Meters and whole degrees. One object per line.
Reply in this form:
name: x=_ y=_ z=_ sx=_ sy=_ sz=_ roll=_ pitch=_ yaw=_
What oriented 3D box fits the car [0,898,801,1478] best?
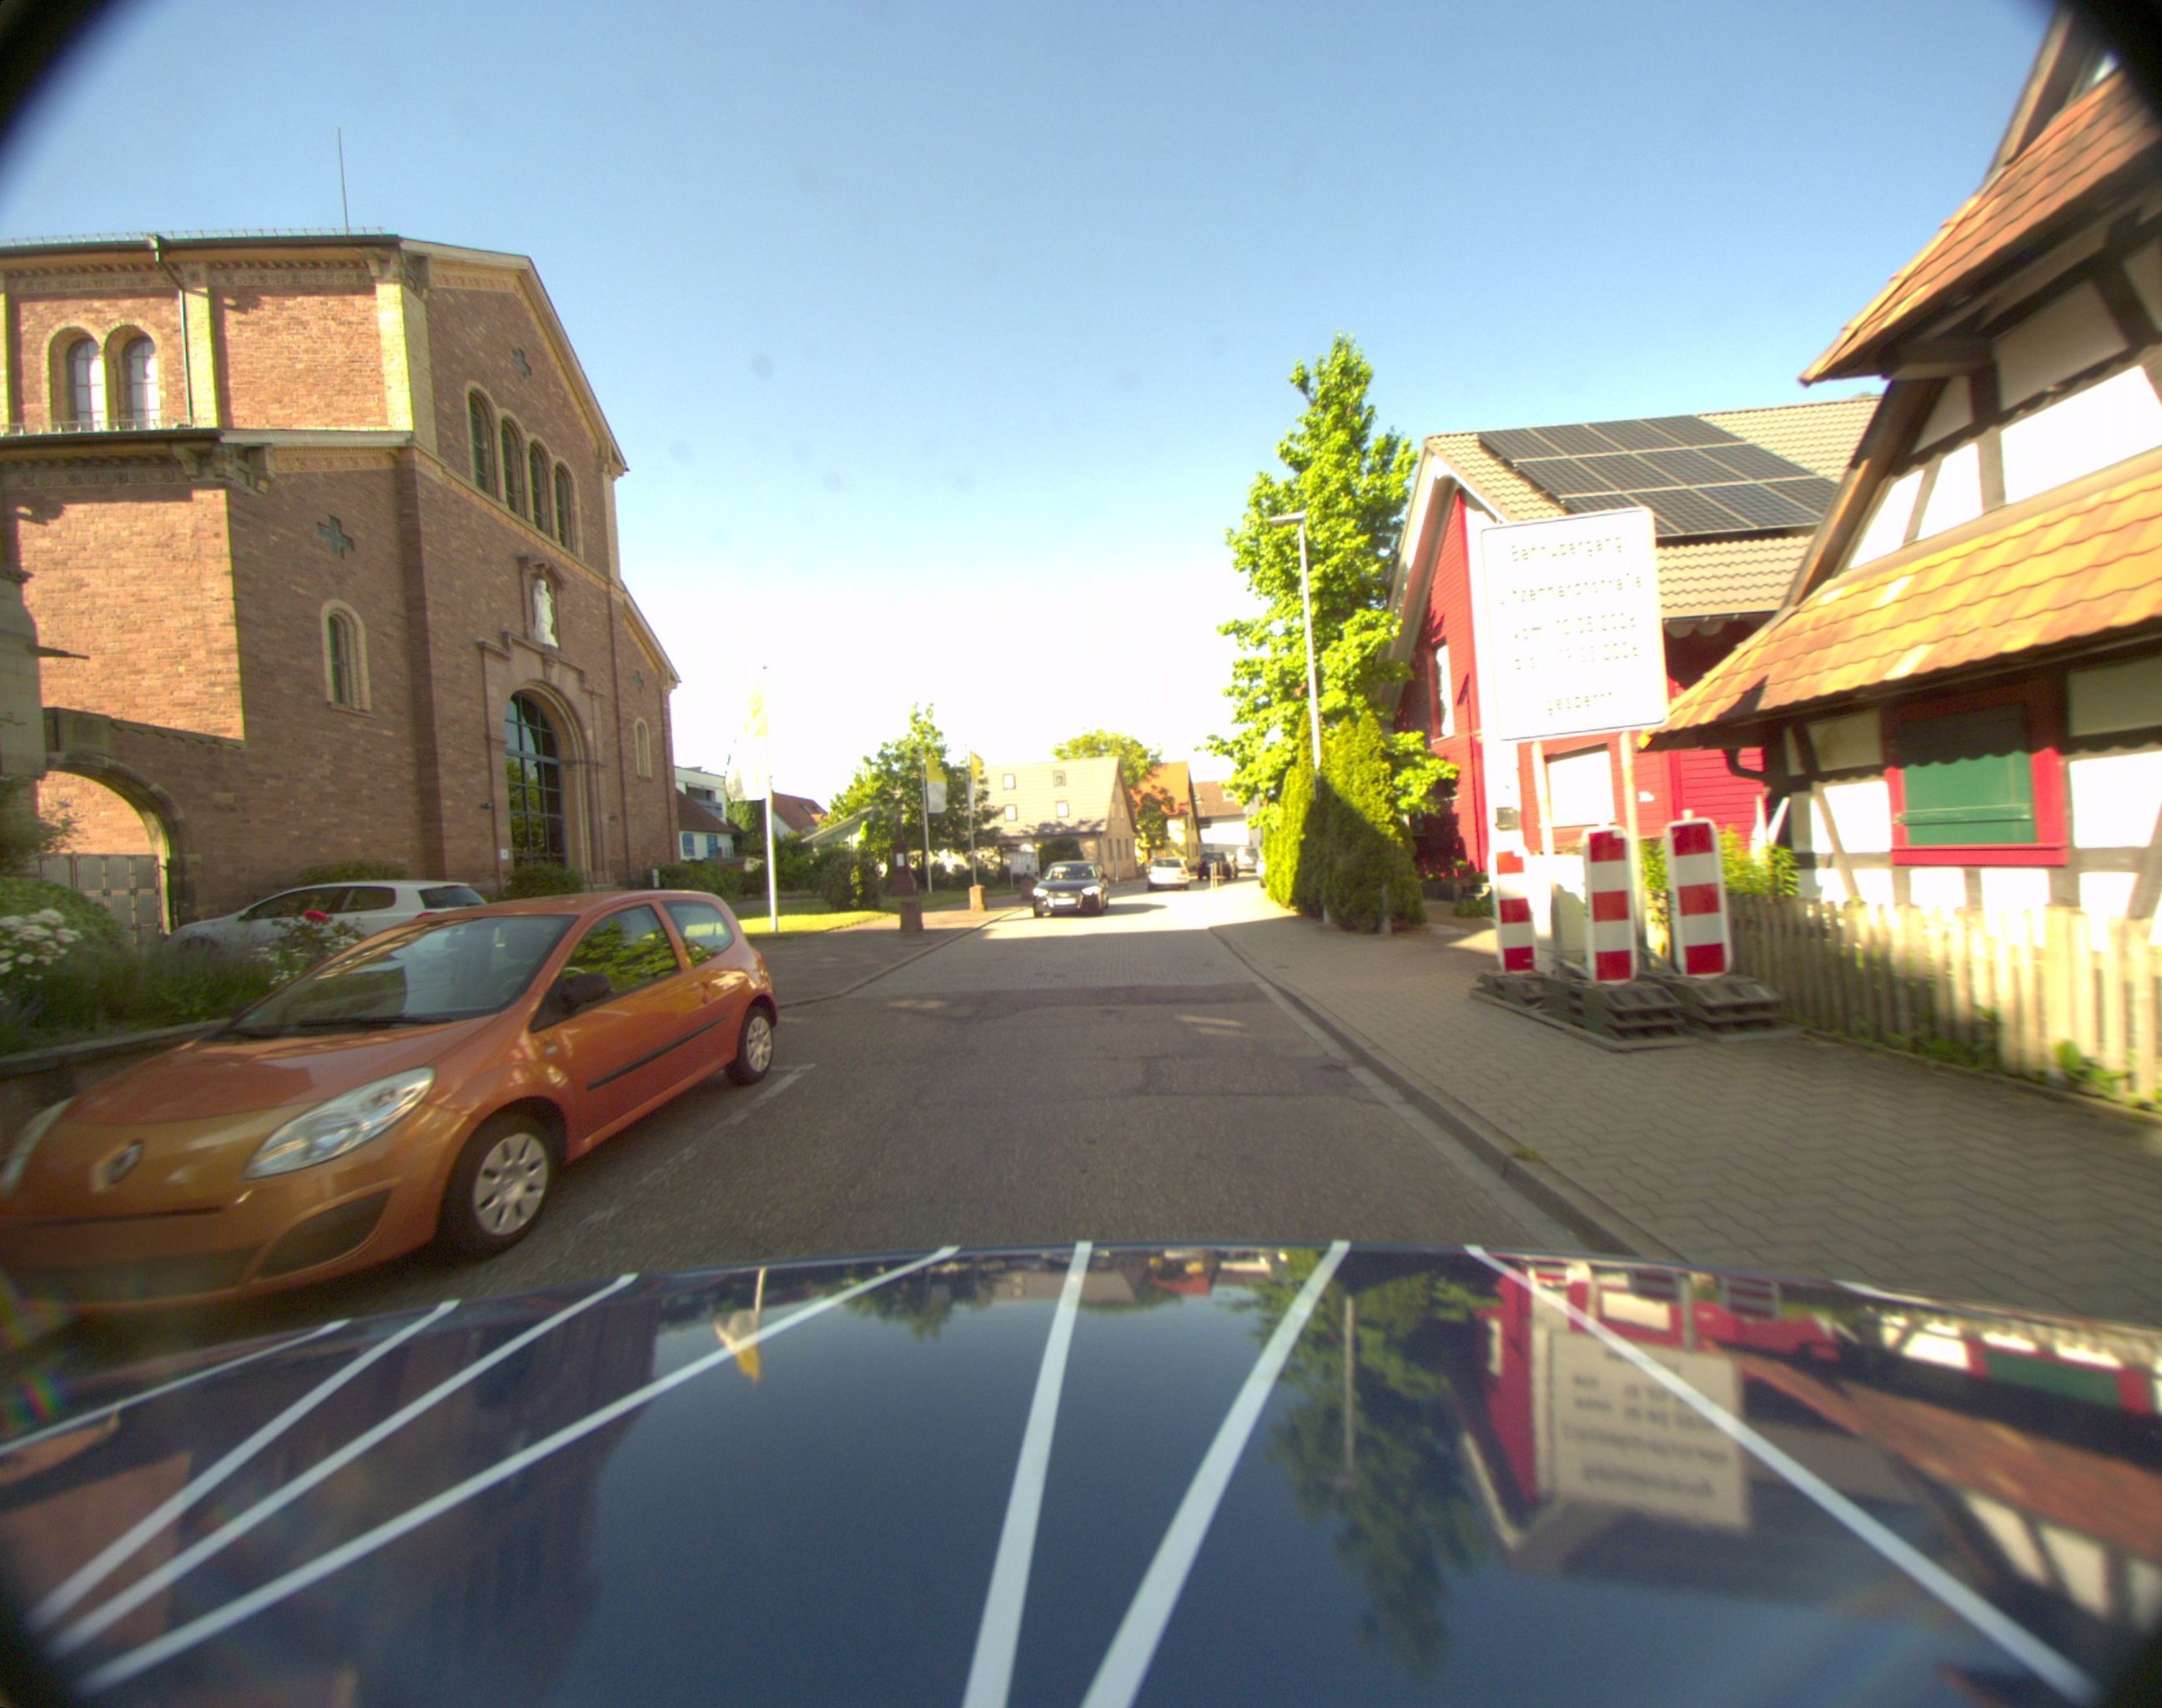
car: x=-3.191 y=1.141 z=4.233 sx=1.652 sy=1.470 sz=3.934 roll=-4 pitch=0 yaw=1

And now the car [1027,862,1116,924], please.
car: x=-0.151 y=0.990 z=20.933 sx=1.806 sy=1.469 sz=4.346 roll=-1 pitch=0 yaw=8

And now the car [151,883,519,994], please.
car: x=-11.881 y=1.299 z=12.377 sx=3.909 sy=1.488 sz=1.903 roll=-1 pitch=1 yaw=-5

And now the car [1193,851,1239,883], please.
car: x=7.599 y=0.710 z=42.581 sx=1.834 sy=1.661 sz=4.359 roll=-1 pitch=0 yaw=19

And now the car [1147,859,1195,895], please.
car: x=3.906 y=0.956 z=32.513 sx=1.673 sy=1.394 sz=3.895 roll=-1 pitch=0 yaw=12

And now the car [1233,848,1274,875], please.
car: x=12.071 y=0.486 z=52.879 sx=1.834 sy=1.779 sz=4.360 roll=-2 pitch=0 yaw=25

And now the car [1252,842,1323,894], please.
car: x=7.668 y=0.462 z=27.907 sx=1.819 sy=1.586 sz=4.452 roll=-5 pitch=0 yaw=23
